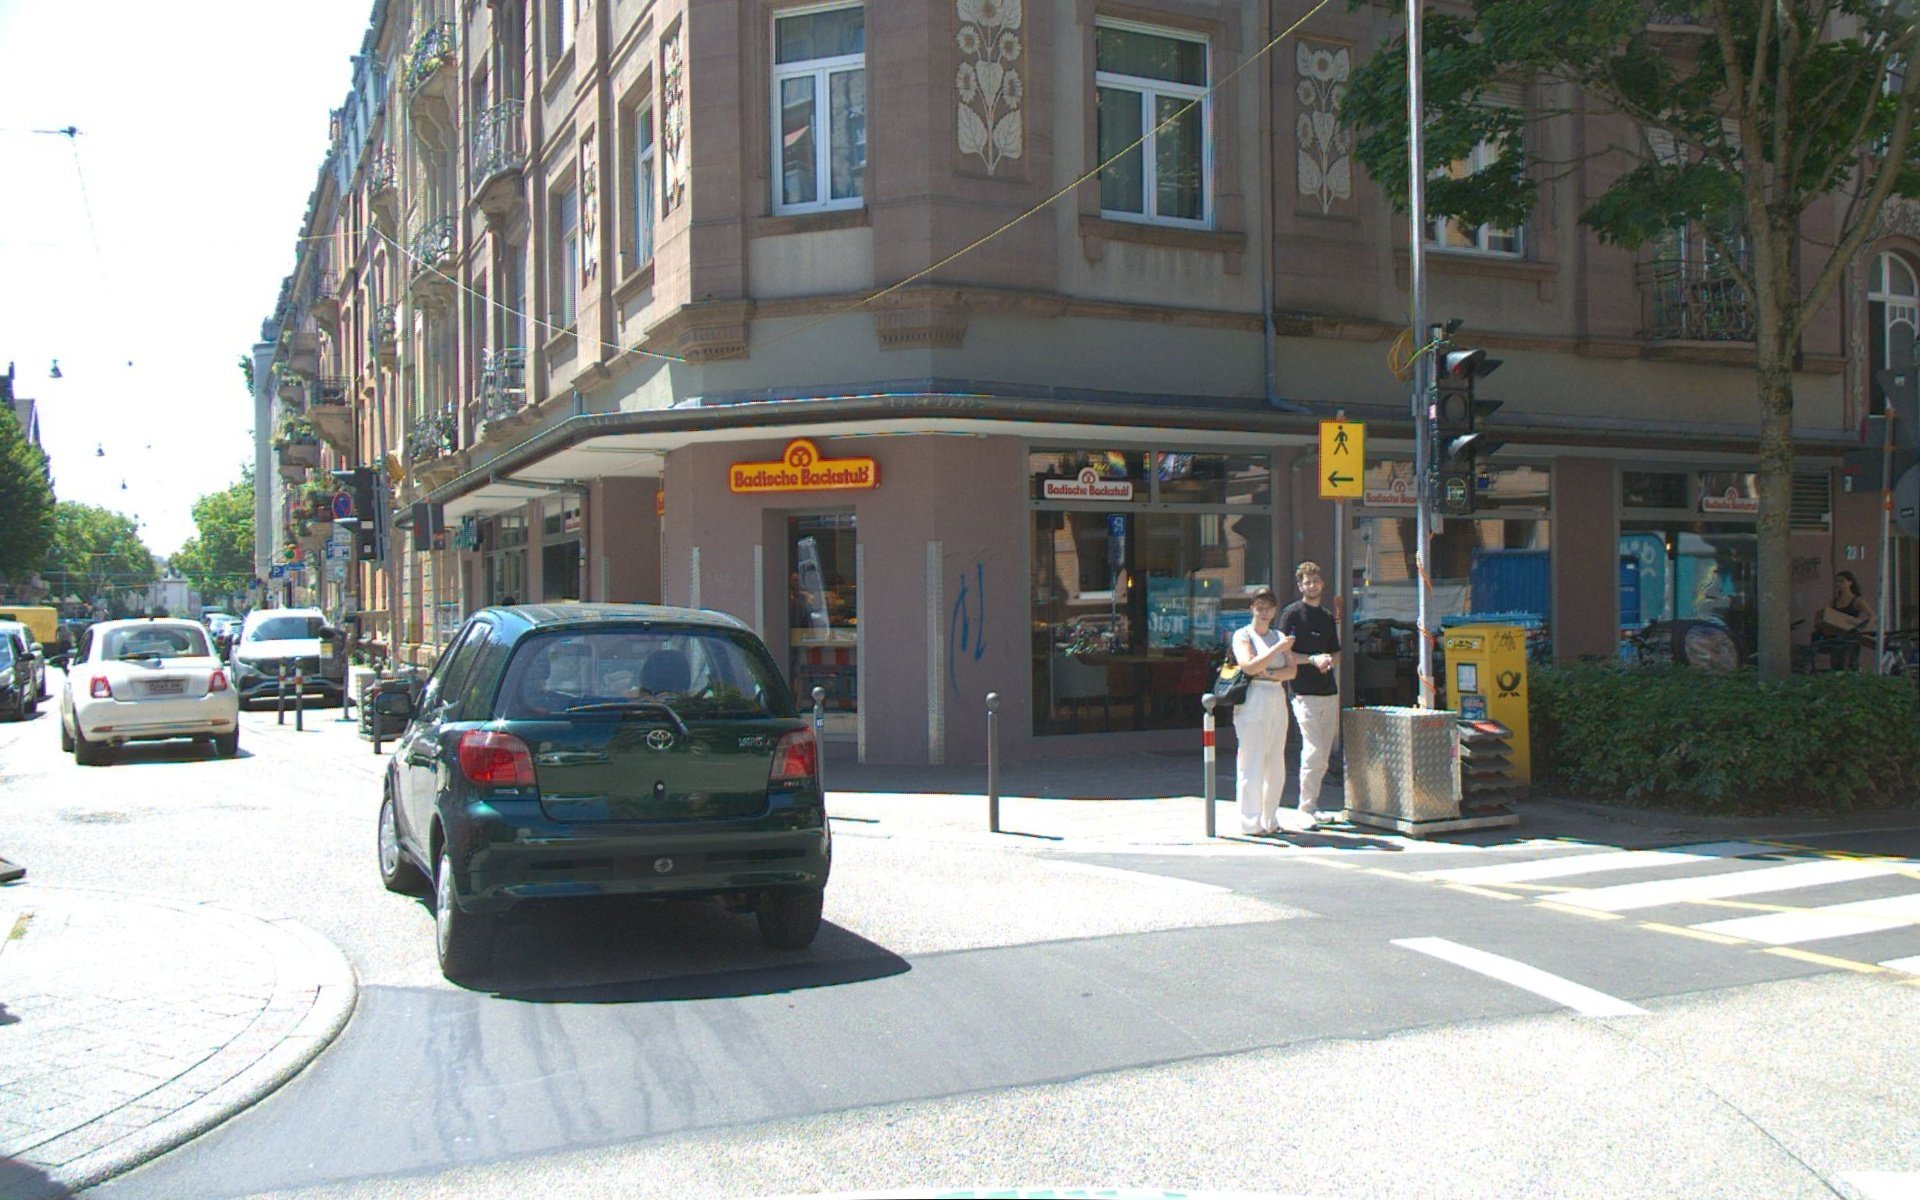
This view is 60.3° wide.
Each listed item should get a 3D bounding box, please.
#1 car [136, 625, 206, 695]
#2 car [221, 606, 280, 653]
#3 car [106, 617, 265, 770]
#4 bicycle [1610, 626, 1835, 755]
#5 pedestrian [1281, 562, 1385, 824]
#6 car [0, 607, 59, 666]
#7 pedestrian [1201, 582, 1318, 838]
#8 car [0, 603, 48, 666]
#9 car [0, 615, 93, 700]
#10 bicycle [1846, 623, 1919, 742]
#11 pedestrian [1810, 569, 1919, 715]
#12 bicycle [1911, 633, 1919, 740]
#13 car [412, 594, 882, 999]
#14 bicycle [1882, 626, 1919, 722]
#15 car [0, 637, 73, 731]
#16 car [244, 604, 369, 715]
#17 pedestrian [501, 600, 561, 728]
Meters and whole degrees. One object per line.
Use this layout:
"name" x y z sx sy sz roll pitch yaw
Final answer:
"car" -19.562 1.453 40.999 1.504 1.620 3.236 0 0 -26
"car" -23.625 0.967 55.018 1.732 1.454 3.969 -1 0 -24
"car" -8.836 0.976 18.819 1.504 1.547 3.235 0 0 -27
"bicycle" 7.189 0.841 15.609 1.943 1.152 0.515 -1 -1 -8
"pedestrian" 2.678 0.643 11.864 0.570 1.799 0.466 -3 4 -33
"car" -37.466 1.404 63.635 1.961 2.226 4.552 -1 -1 38
"pedestrian" 2.071 0.733 11.427 0.695 1.673 0.418 -3 4 -33
"car" -32.333 1.134 53.307 2.012 2.029 4.770 -1 -1 36
"car" -20.256 1.238 36.402 1.732 1.673 4.343 -4 1 -24
"bicycle" 9.571 0.792 16.461 1.741 1.099 0.466 -1 1 -29
"pedestrian" 10.644 0.481 19.451 0.845 1.662 0.781 -1 -1 -26
"bicycle" 9.954 0.819 16.014 1.741 1.014 0.466 -1 1 -29
"car" -1.675 0.764 7.991 1.592 1.511 3.217 0 -1 -23
"bicycle" 11.091 0.807 18.547 1.704 1.014 0.500 -1 1 -29
"car" -16.262 1.391 28.156 1.732 1.469 3.969 -1 0 -24
"car" -11.710 1.008 29.482 1.847 1.743 4.469 -2 0 -24
"pedestrian" -5.698 0.829 21.948 0.633 1.652 0.798 0 -1 -25
